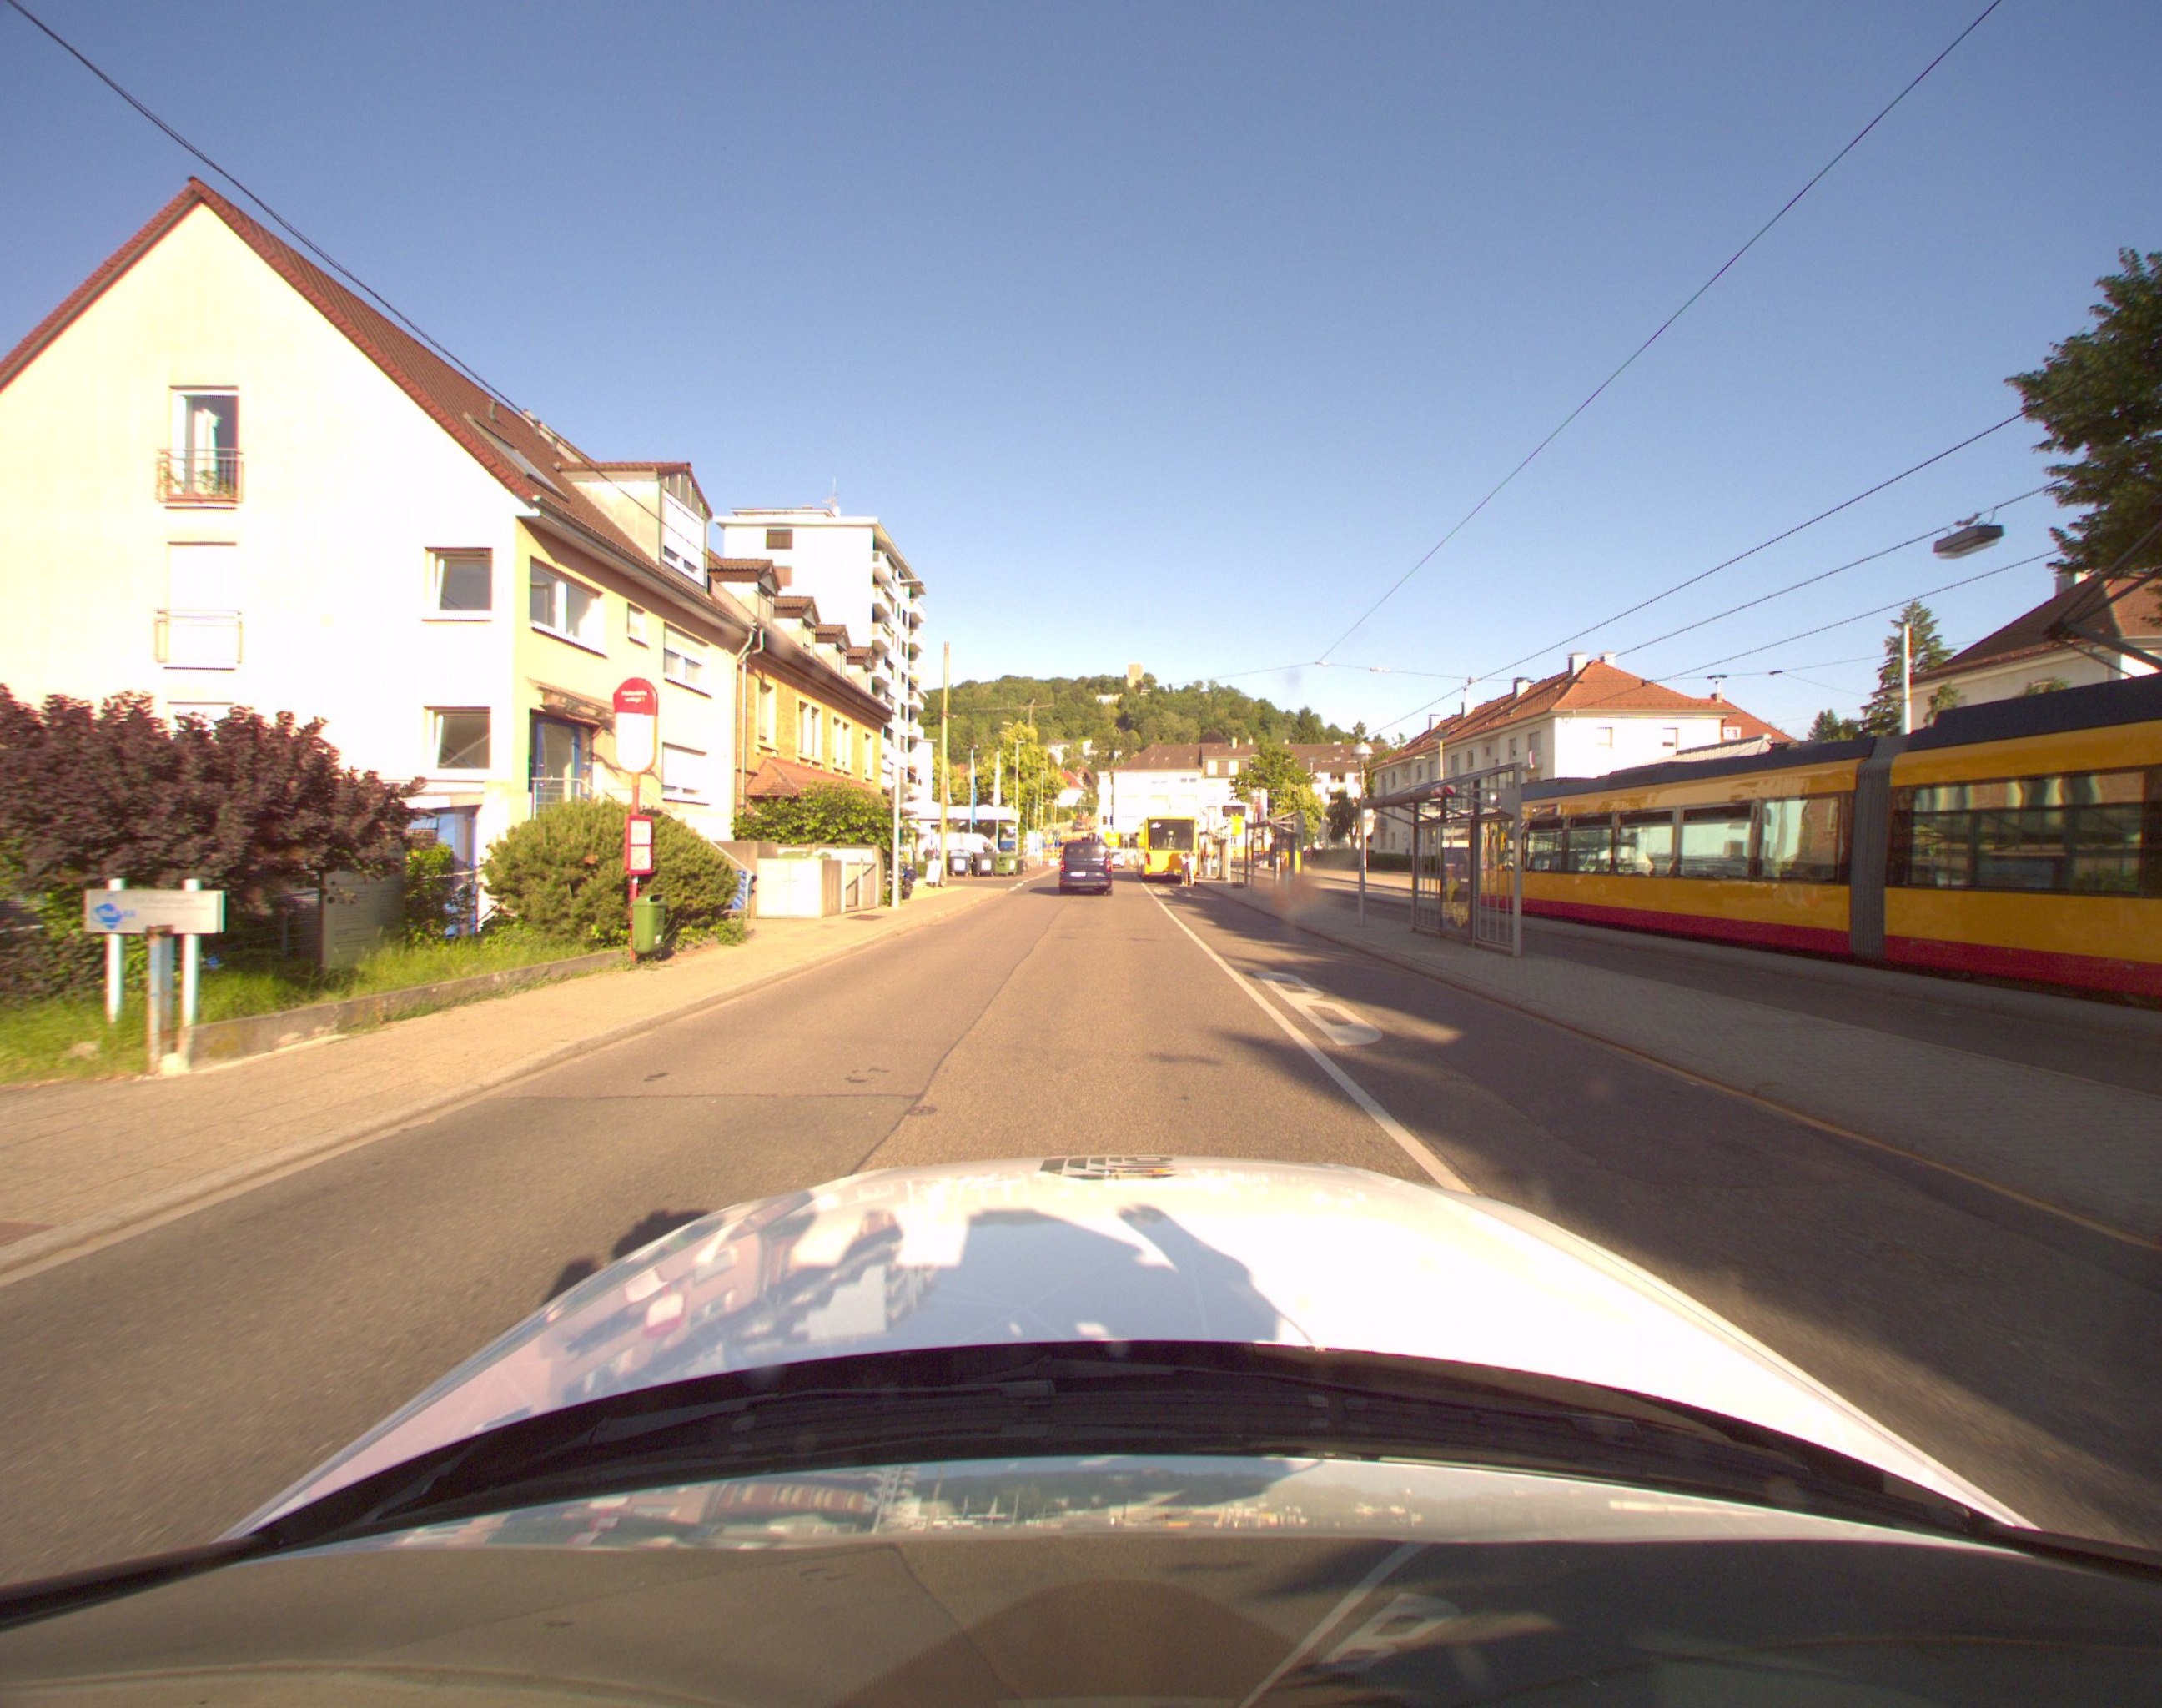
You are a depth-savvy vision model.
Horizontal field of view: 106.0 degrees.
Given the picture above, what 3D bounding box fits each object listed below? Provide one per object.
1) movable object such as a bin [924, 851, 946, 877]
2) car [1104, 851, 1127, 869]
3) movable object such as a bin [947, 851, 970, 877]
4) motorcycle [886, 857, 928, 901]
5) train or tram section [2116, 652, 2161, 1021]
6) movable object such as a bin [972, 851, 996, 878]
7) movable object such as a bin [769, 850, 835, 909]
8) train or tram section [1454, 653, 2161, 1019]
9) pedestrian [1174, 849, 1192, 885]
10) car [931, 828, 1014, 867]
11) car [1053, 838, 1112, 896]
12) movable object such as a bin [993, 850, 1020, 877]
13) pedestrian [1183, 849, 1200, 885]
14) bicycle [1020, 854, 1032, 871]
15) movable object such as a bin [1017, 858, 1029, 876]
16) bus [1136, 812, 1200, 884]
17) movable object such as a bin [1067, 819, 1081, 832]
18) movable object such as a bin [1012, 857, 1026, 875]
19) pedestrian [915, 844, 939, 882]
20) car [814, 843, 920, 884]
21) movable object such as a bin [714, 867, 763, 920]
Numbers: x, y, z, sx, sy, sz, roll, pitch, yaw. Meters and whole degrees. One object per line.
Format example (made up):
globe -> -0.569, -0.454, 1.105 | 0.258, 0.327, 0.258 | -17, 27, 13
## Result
movable object such as a bin -> -8.570, 0.606, 47.908 | 1.175, 1.482, 0.704 | 0, 3, -3
car -> 2.842, 0.494, 66.599 | 1.787, 1.409, 4.003 | 0, 0, 3
movable object such as a bin -> -7.206, 0.594, 47.962 | 1.215, 1.482, 0.704 | 0, 3, -3
motorcycle -> -5.341, 0.739, 25.166 | 0.836, 1.282, 2.231 | 1, 0, -1
train or tram section -> 11.602, -0.250, 1.363 | 2.946, 3.534, 13.469 | -1, -1, 2
movable object such as a bin -> -5.746, 0.612, 48.193 | 1.224, 1.482, 0.698 | -1, 4, -27
movable object such as a bin -> -6.927, 0.620, 20.297 | 1.304, 1.429, 0.991 | 0, 0, -2
train or tram section -> 12.134, -0.105, 15.820 | 2.946, 3.534, 15.976 | -1, -1, 2
pedestrian -> 4.728, 0.597, 37.743 | 0.548, 1.613, 0.629 | 0, 0, -35
car -> -7.145, -0.395, 53.739 | 5.072, 2.469, 2.095 | 1, 0, -20
car -> 0.153, 0.451, 31.404 | 2.054, 2.013, 5.002 | -2, 0, 2
movable object such as a bin -> -4.474, 0.560, 49.247 | 1.045, 1.482, 1.321 | 2, 4, 30
pedestrian -> 5.085, 0.589, 37.355 | 0.548, 1.613, 0.544 | 0, 0, -36
bicycle -> -3.771, 0.567, 55.991 | 0.722, 1.178, 1.777 | 0, 0, -7
movable object such as a bin -> -3.621, 0.816, 50.751 | 0.635, 1.069, 0.582 | 1, 3, 14
bus -> 4.574, -0.371, 44.991 | 2.678, 3.416, 12.026 | 0, 1, 2
movable object such as a bin -> -1.470, -6.301, 181.520 | 2.175, 2.690, 4.015 | 0, 1, 13
movable object such as a bin -> -3.799, 0.719, 50.139 | 0.655, 1.062, 0.587 | 3, 2, 14
pedestrian -> -7.668, 0.451, 40.554 | 0.810, 1.867, 0.800 | 0, 0, 27
car -> -10.315, 0.438, 39.573 | 4.600, 1.933, 2.000 | 0, 0, -1
movable object such as a bin -> -7.111, 0.815, 16.937 | 0.755, 1.066, 0.602 | 0, 0, 2
